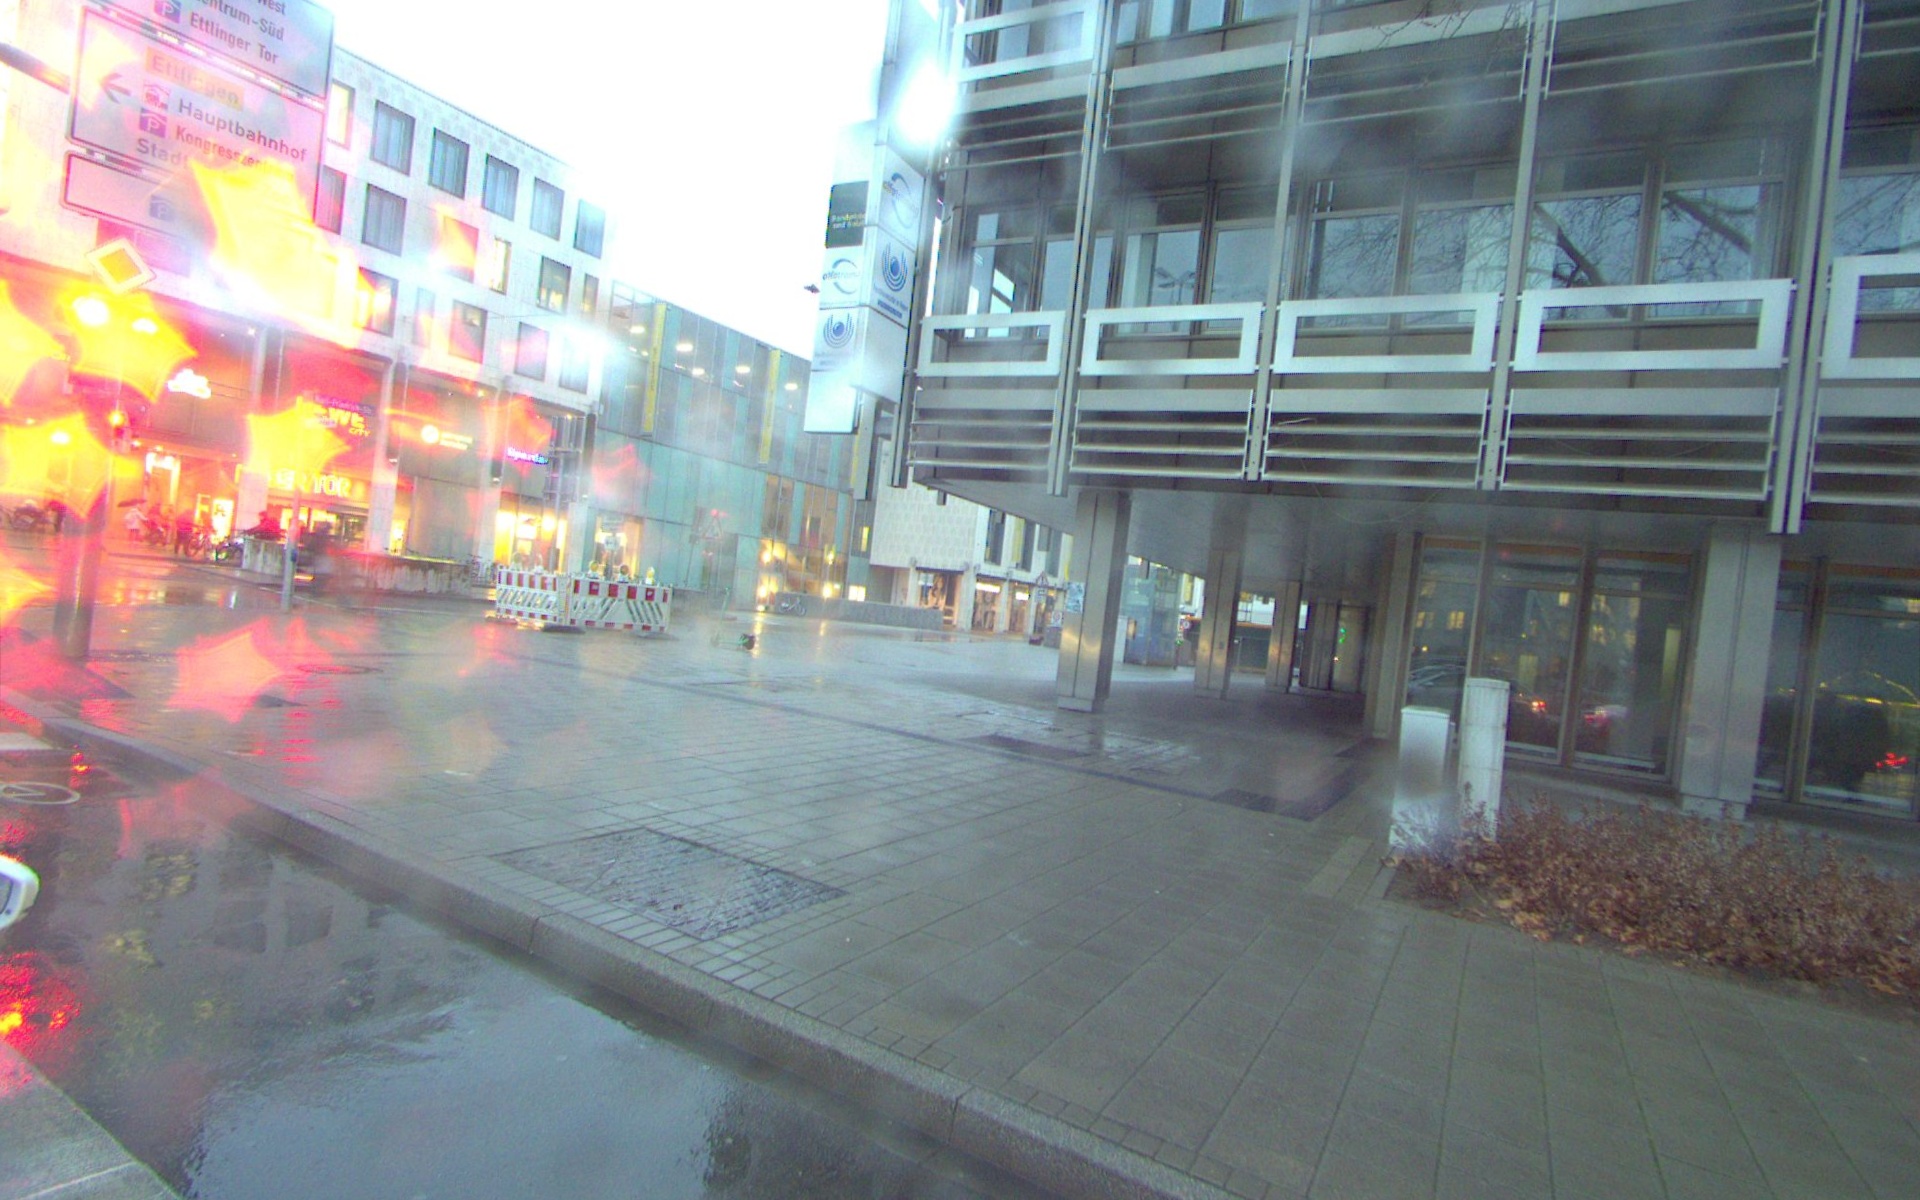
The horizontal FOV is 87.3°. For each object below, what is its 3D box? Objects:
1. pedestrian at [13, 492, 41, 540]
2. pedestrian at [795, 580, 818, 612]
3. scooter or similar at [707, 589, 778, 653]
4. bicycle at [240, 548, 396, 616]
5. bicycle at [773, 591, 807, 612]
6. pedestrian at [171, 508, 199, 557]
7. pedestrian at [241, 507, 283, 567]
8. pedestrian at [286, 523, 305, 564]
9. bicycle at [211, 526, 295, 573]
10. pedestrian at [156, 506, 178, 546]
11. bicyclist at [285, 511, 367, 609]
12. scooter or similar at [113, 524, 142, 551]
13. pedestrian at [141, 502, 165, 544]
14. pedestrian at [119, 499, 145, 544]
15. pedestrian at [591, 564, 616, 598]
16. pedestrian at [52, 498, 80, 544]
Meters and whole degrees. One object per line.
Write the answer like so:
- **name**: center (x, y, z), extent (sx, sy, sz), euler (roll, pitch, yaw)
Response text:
- **pedestrian**: center (-35.626, -3.199, 38.415), extent (0.529, 1.739, 0.500), euler (6, 1, -21)
- **pedestrian**: center (-10.597, -0.276, 69.448), extent (1.006, 2.037, 0.906), euler (6, -1, 31)
- **scooter or similar**: center (-4.386, 0.424, 20.284), extent (1.215, 1.144, 0.606), euler (7, 0, 32)
- **bicycle**: center (-12.085, -0.311, 19.037), extent (0.608, 1.045, 2.374), euler (7, 0, 34)
- **bicycle**: center (-10.397, 0.111, 61.634), extent (2.101, 1.046, 0.616), euler (6, 0, 33)
- **pedestrian**: center (-28.124, -2.429, 36.507), extent (0.529, 1.706, 0.546), euler (6, 1, -21)
- **pedestrian**: center (-20.154, -1.823, 29.044), extent (0.778, 1.615, 0.605), euler (6, 1, -43)
- **pedestrian**: center (-30.209, -2.577, 45.738), extent (0.369, 1.782, 0.511), euler (7, 1, 43)
- **bicycle**: center (-20.304, -1.441, 28.929), extent (1.839, 1.107, 0.610), euler (7, 0, -44)
- **pedestrian**: center (-36.175, -3.388, 45.903), extent (0.529, 1.739, 0.500), euler (6, 1, -21)
- **bicyclist**: center (-12.015, -0.746, 19.073), extent (0.608, 1.718, 1.034), euler (7, 1, 34)
- **scooter or similar**: center (-33.484, -2.515, 40.483), extent (0.394, 1.005, 0.741), euler (7, 0, 33)
- **pedestrian**: center (-35.345, -3.360, 44.058), extent (0.529, 1.739, 0.500), euler (6, 1, -21)
- **pedestrian**: center (-33.390, -3.155, 40.574), extent (0.529, 1.739, 0.500), euler (6, 1, -21)
- **pedestrian**: center (-18.335, -0.970, 51.756), extent (0.697, 1.650, 0.795), euler (6, -1, 31)
- **pedestrian**: center (-34.933, -3.077, 39.303), extent (0.529, 1.739, 0.500), euler (6, 1, -21)
